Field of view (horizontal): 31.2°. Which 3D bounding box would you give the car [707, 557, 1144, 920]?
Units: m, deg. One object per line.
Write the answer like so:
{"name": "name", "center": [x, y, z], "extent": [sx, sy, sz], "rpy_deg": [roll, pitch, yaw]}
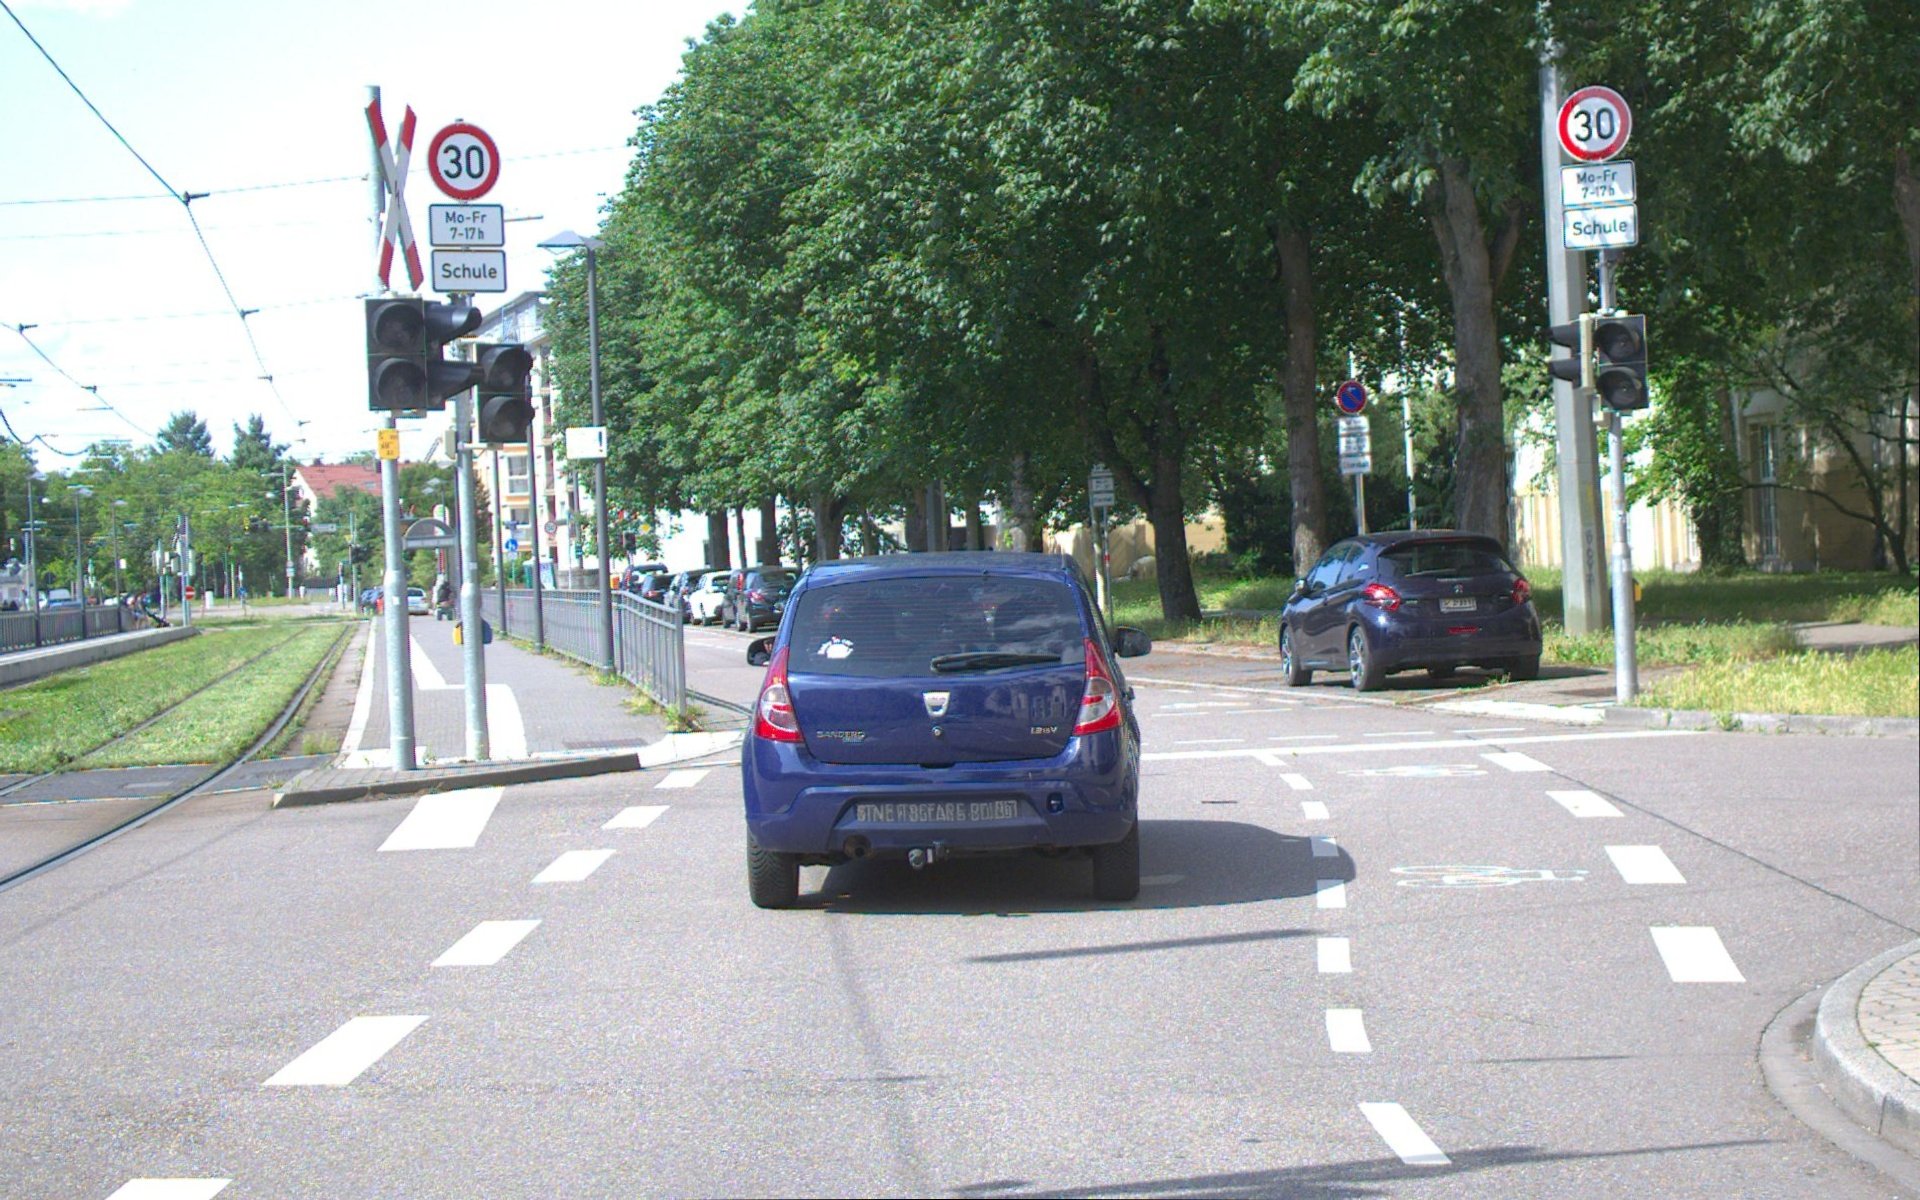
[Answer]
{"name": "car", "center": [-0.144, 0.547, 16.028], "extent": [1.768, 1.457, 3.775], "rpy_deg": [-1, 1, 0]}

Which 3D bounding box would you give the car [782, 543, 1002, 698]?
{"name": "car", "center": [-0.715, 0.161, 33.560], "extent": [1.699, 1.363, 3.516], "rpy_deg": [-1, 1, -8]}

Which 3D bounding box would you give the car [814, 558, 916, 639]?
{"name": "car", "center": [-1.946, -0.059, 69.484], "extent": [1.851, 1.510, 4.001], "rpy_deg": [-3, 1, -4]}

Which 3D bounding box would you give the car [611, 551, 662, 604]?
{"name": "car", "center": [-11.356, -0.799, 120.917], "extent": [1.667, 1.766, 4.001], "rpy_deg": [-3, 1, -5]}

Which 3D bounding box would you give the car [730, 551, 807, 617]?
{"name": "car", "center": [-4.888, -0.427, 87.575], "extent": [1.827, 1.532, 4.001], "rpy_deg": [-3, 1, -4]}

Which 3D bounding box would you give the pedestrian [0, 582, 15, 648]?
{"name": "pedestrian", "center": [-21.636, 0.363, 76.438], "extent": [1.028, 1.433, 0.703], "rpy_deg": [-5, 1, -23]}

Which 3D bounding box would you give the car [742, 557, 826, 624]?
{"name": "car", "center": [-4.219, -0.238, 82.001], "extent": [1.861, 1.440, 4.001], "rpy_deg": [-4, 1, -3]}

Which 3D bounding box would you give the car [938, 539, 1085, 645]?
{"name": "car", "center": [0.757, -0.141, 53.128], "extent": [1.861, 1.440, 4.001], "rpy_deg": [-4, 1, -3]}

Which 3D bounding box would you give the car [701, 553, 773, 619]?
{"name": "car", "center": [-6.233, -0.399, 95.717], "extent": [1.617, 1.744, 4.001], "rpy_deg": [-3, 1, -8]}

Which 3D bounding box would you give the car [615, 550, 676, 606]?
{"name": "car", "center": [-10.470, -0.746, 114.559], "extent": [1.830, 1.755, 4.001], "rpy_deg": [-3, 1, -4]}

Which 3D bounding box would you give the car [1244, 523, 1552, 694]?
{"name": "car", "center": [4.088, 0.057, 32.695], "extent": [1.765, 1.428, 3.905], "rpy_deg": [-3, 1, -10]}
